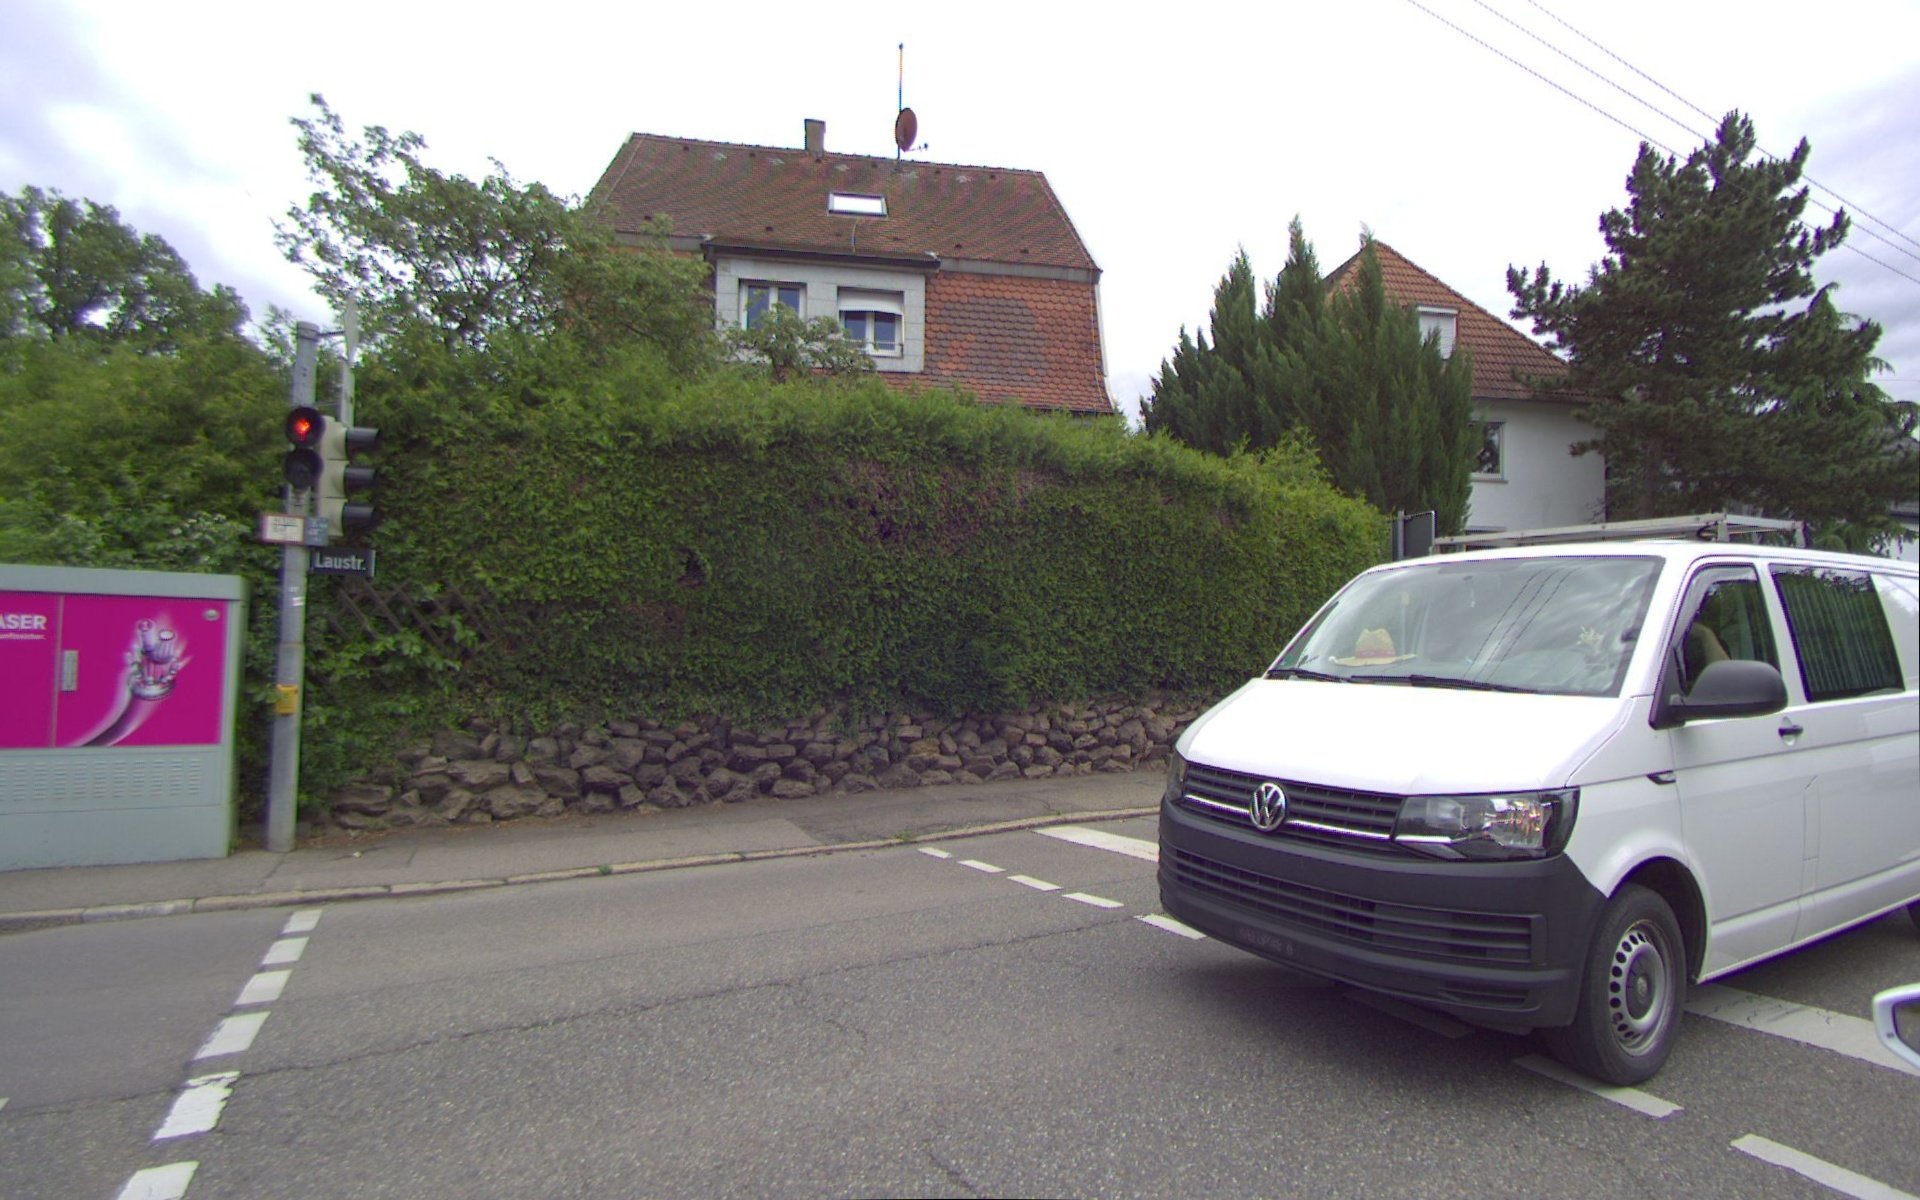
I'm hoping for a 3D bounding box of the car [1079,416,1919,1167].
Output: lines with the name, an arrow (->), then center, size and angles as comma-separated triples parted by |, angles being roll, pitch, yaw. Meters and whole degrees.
car -> 3.171, 0.640, 4.922 | 5.113, 2.074, 1.849 | 2, -3, -31
